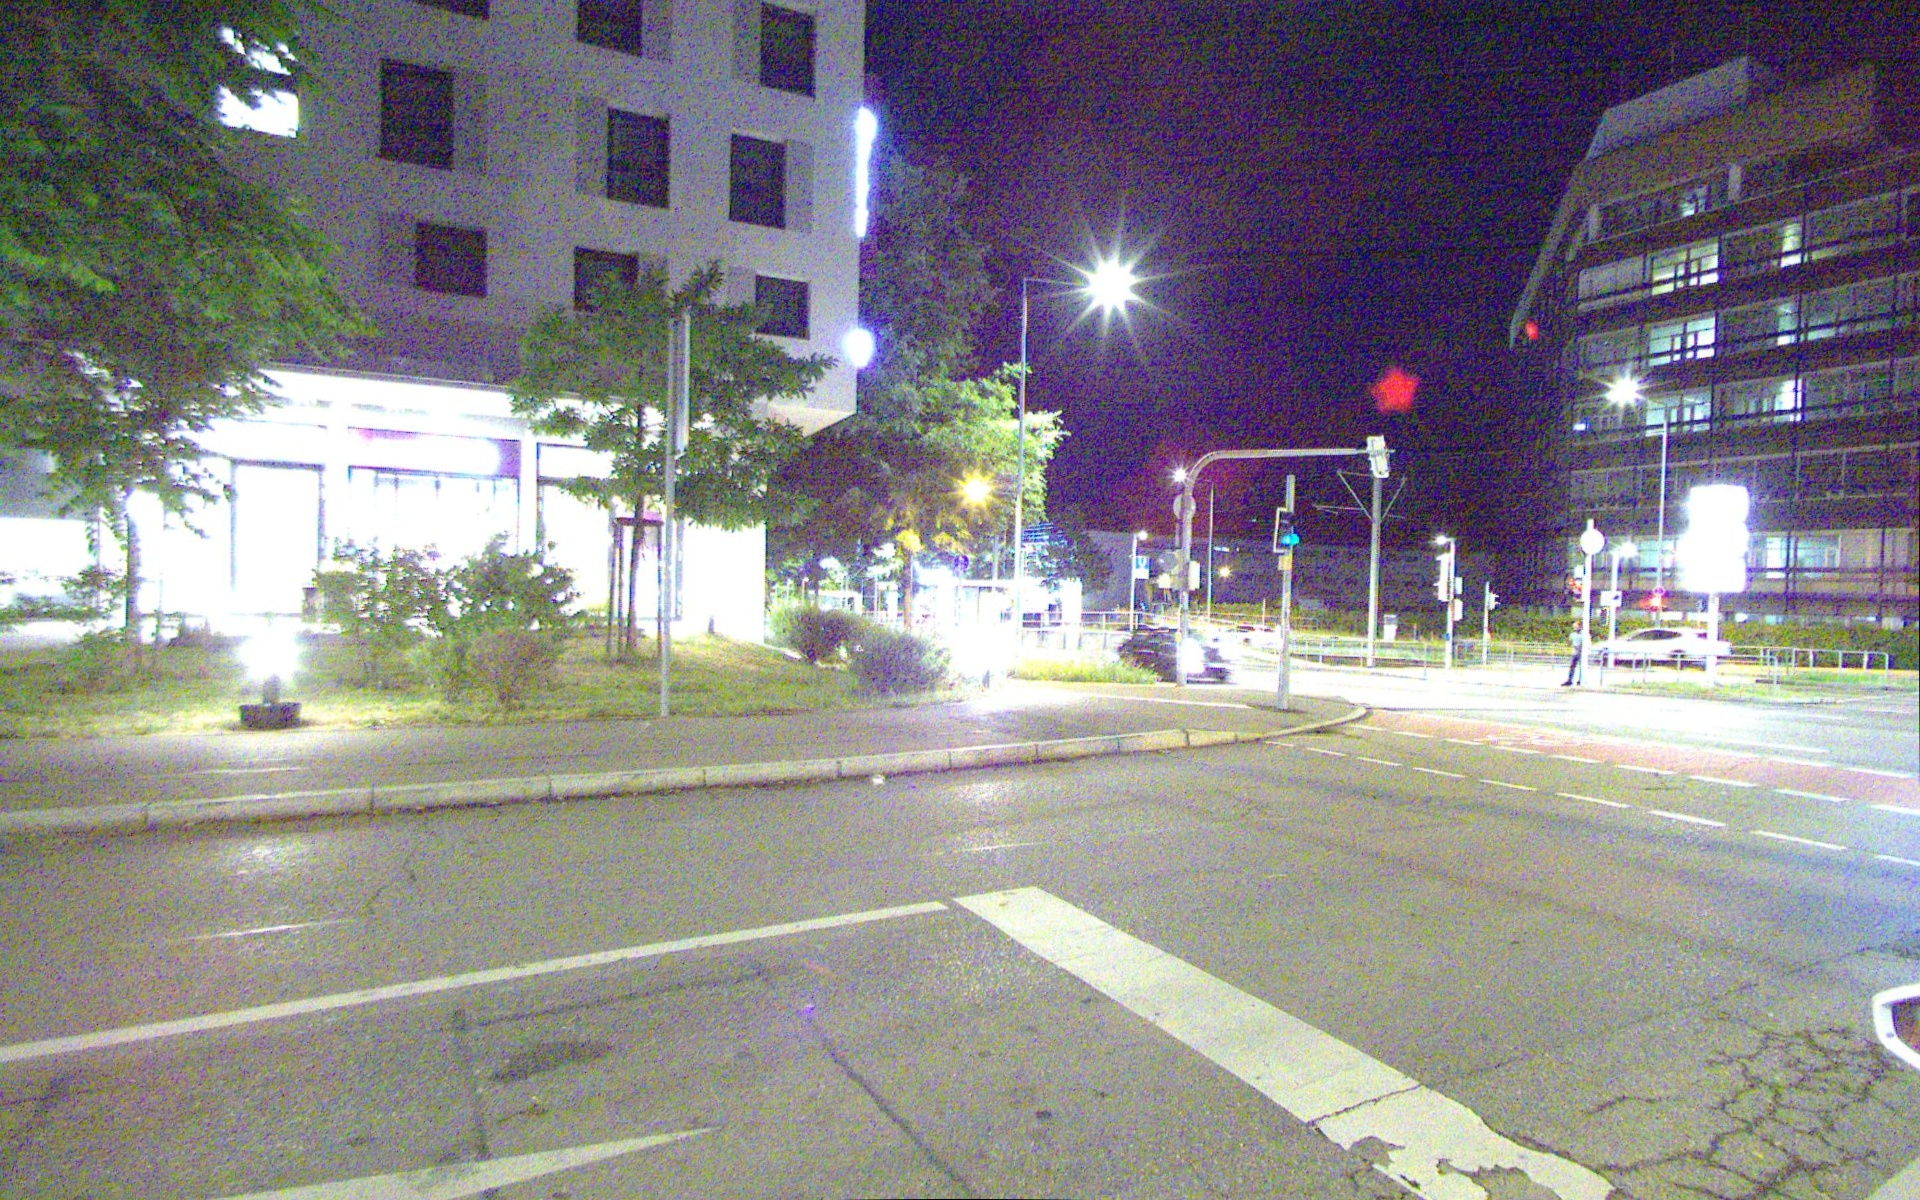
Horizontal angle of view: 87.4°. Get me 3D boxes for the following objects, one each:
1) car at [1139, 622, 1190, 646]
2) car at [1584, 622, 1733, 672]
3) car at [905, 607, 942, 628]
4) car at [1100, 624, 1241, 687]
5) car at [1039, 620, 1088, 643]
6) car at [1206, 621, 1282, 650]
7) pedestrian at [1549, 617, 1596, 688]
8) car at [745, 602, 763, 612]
[{"bbox_3d":[14.825,2.419,73.011,1.786,1.653,3.810,1,-1,-23],"label":"car"},{"bbox_3d":[27.232,1.818,39.300,1.916,1.665,4.382,3,0,-26],"label":"car"},{"bbox_3d":[-3.686,1.692,100.202,1.845,1.909,4.926,3,0,-26],"label":"car"},{"bbox_3d":[5.610,1.441,27.223,1.638,1.493,3.861,-2,0,-28],"label":"car"},{"bbox_3d":[7.610,2.288,74.032,1.845,1.506,3.822,3,0,-26],"label":"car"},{"bbox_3d":[16.896,2.105,59.918,1.755,1.506,4.559,1,0,-26],"label":"car"},{"bbox_3d":[15.755,1.343,25.851,0.694,1.745,0.678,2,0,-10],"label":"pedestrian"},{"bbox_3d":[-33.441,1.129,162.942,1.845,1.506,3.822,3,0,-26],"label":"car"}]
